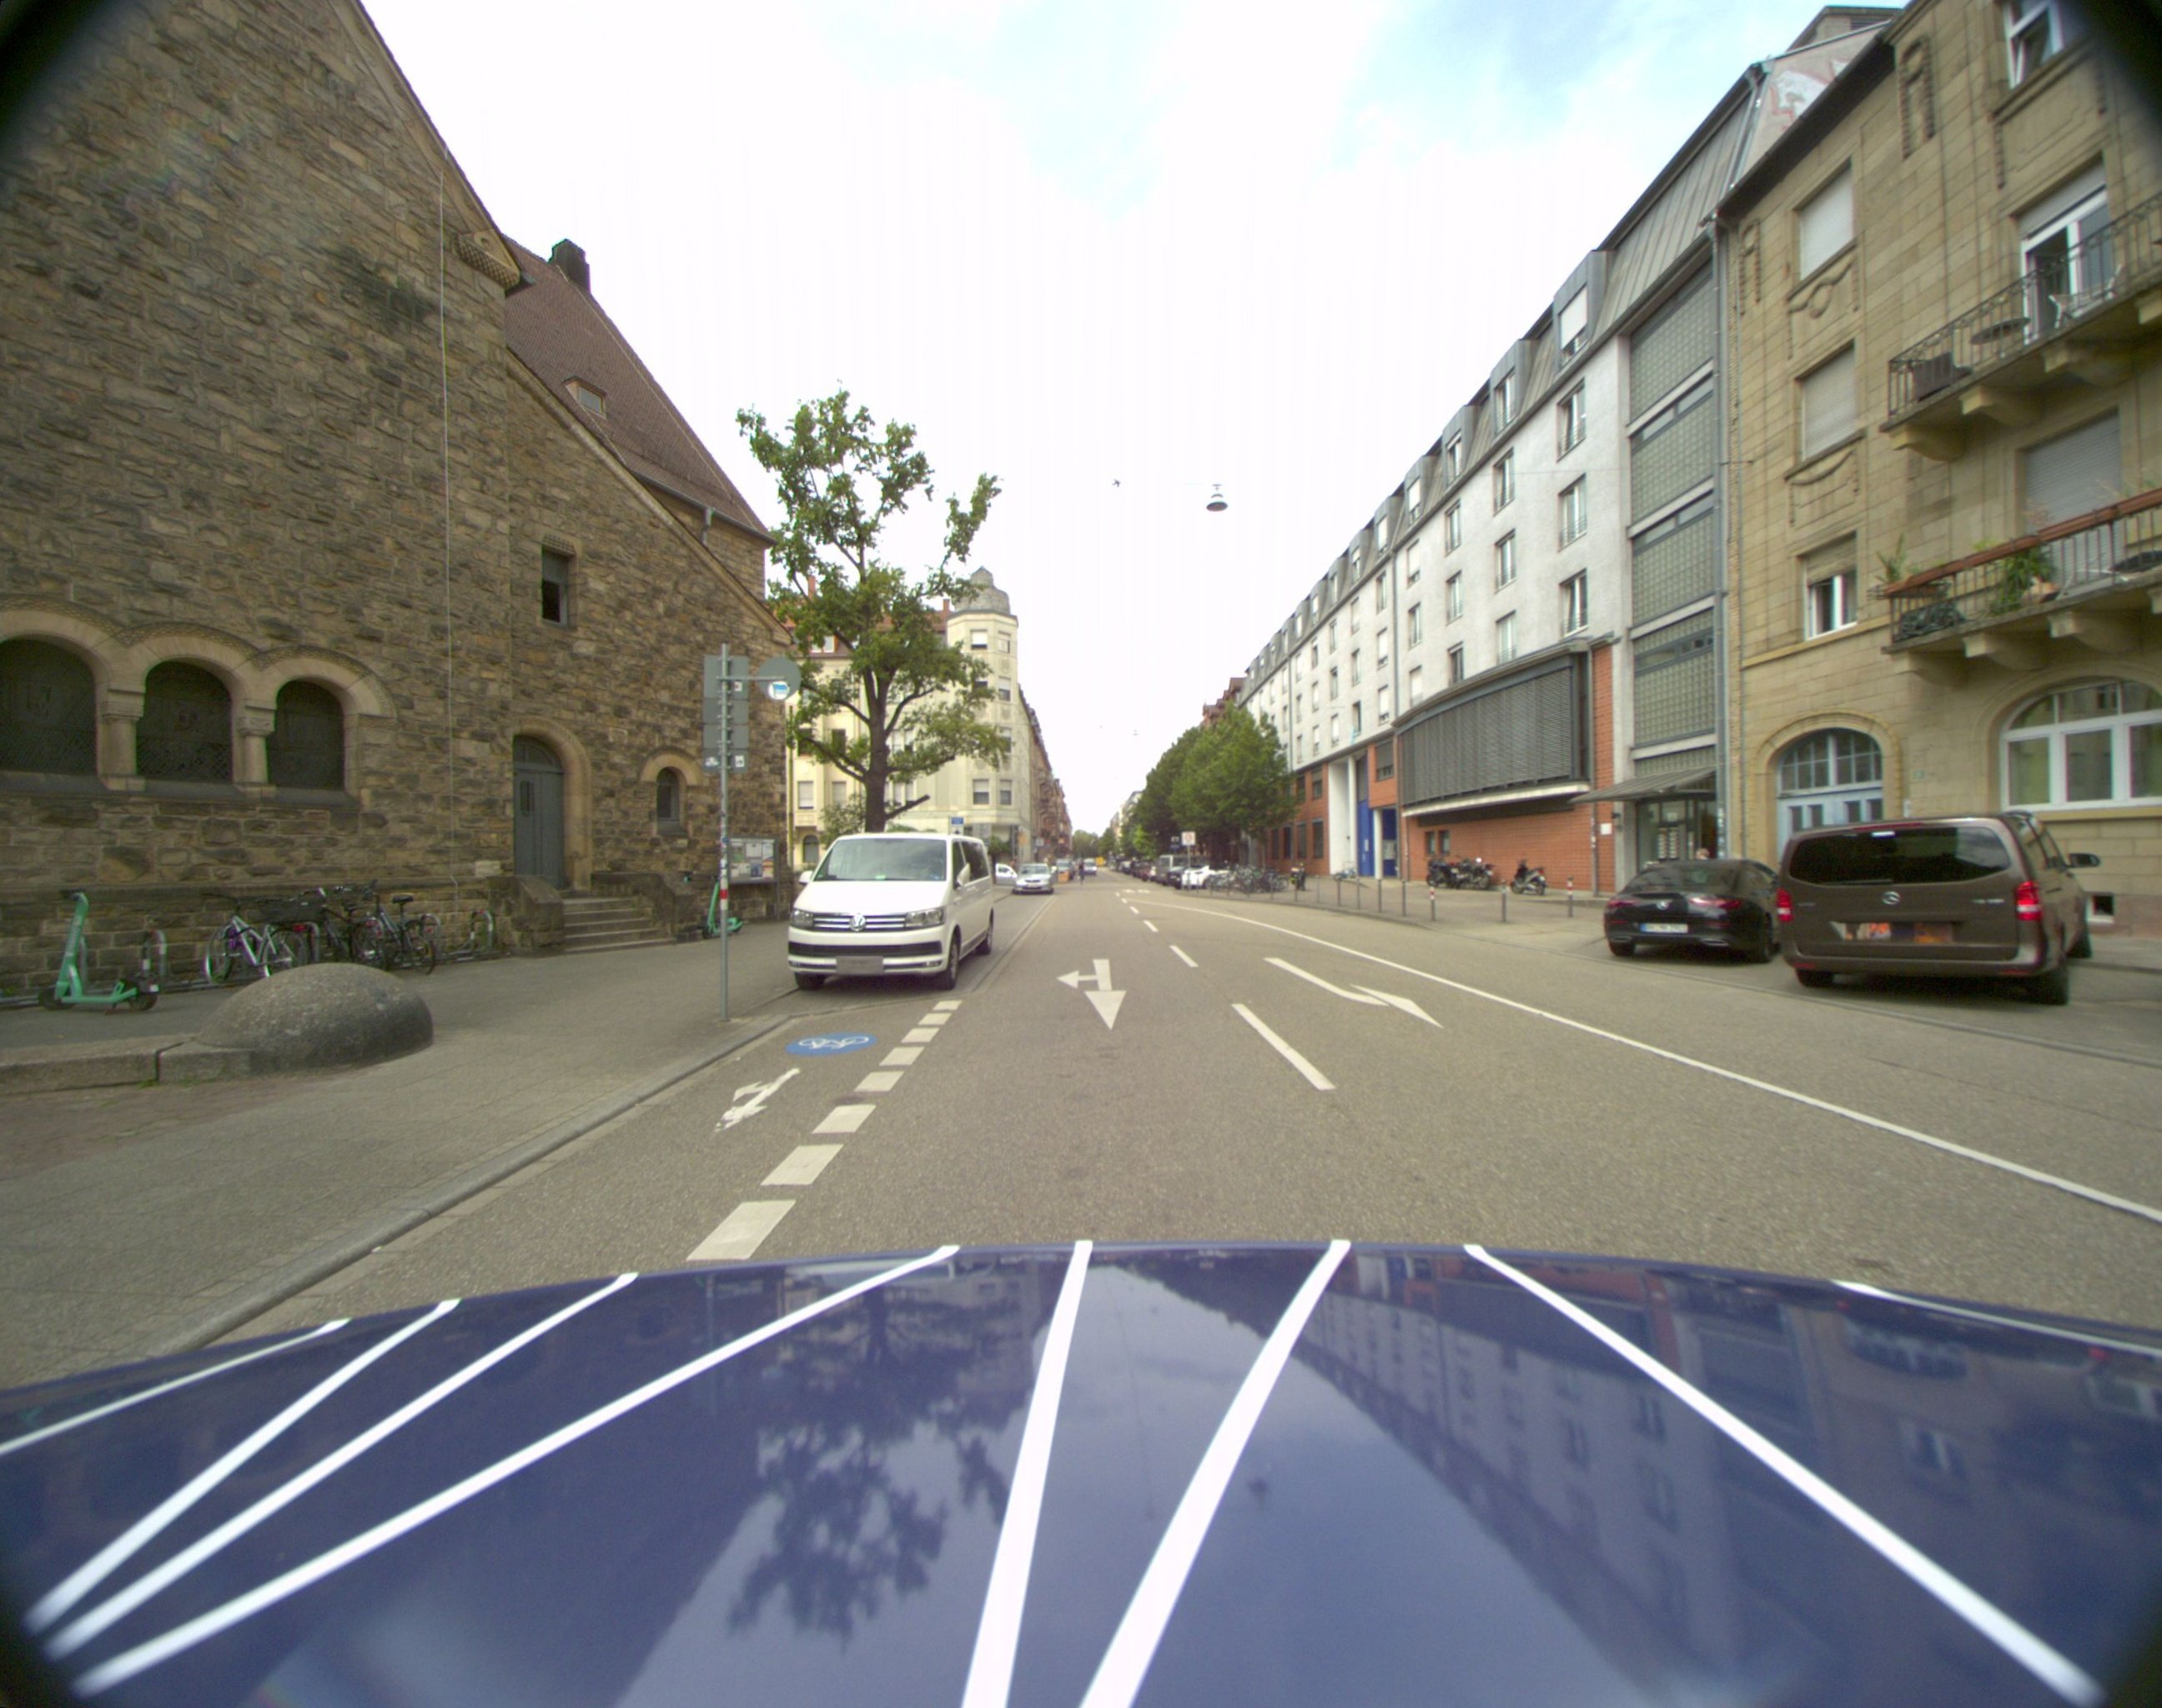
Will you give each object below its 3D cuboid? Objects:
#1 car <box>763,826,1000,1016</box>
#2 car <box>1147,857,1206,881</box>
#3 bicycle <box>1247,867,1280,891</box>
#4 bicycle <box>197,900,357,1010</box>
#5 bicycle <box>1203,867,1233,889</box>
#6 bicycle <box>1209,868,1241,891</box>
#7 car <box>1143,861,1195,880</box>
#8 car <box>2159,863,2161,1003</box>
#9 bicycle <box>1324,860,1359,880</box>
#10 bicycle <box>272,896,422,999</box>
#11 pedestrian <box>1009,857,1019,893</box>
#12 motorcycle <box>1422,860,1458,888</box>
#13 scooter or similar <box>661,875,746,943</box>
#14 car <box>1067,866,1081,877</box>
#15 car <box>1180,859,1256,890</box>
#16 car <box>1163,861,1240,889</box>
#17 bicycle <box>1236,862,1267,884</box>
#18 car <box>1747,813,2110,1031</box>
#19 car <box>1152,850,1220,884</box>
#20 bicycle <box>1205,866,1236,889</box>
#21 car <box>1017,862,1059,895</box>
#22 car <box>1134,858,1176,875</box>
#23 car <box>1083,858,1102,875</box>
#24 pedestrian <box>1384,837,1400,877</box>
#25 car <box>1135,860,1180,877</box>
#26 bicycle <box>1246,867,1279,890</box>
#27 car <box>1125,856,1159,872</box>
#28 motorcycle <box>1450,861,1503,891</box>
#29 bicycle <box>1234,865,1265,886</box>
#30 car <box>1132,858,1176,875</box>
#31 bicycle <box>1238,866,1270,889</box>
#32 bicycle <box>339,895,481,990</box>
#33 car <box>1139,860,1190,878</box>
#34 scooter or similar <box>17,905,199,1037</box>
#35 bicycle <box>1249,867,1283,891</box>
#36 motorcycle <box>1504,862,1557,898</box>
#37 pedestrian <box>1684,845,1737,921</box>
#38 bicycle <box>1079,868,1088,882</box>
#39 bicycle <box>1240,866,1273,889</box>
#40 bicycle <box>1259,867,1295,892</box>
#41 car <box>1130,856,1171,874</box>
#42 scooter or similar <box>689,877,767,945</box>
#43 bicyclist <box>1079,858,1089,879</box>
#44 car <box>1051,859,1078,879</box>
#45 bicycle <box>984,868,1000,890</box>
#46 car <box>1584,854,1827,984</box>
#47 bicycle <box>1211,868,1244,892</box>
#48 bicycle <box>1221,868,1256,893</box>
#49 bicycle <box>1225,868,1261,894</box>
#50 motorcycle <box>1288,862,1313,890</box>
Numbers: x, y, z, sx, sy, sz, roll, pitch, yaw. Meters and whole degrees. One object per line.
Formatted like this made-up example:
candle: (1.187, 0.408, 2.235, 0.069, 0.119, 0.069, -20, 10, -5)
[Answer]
car: (-2.411, 0.748, 10.709, 2.019, 2.017, 5.123, 0, -1, -1)
car: (6.942, 1.069, 54.973, 4.012, 1.605, 1.708, -1, -1, -33)
bicycle: (8.299, 1.129, 34.594, 1.409, 1.020, 0.402, -2, 0, 3)
bicycle: (-8.993, 1.092, 8.496, 1.778, 1.105, 0.547, 0, 0, 19)
bicycle: (6.867, 1.203, 38.170, 1.409, 1.020, 0.402, -3, 0, 3)
bicycle: (6.833, 1.202, 36.089, 1.409, 1.020, 0.402, -3, 0, 3)
car: (7.025, 1.308, 60.569, 4.012, 1.381, 1.593, -1, -1, -33)
car: (10.006, 0.797, 5.743, 4.020, 1.401, 1.792, -1, 0, -40)
bicycle: (14.023, 0.848, 40.943, 1.613, 0.920, 0.932, -7, -1, 12)
bicycle: (-8.764, 1.078, 9.071, 1.771, 1.105, 0.547, 0, 0, 19)
pedestrian: (-3.196, 0.986, 36.219, 0.468, 1.725, 0.410, 0, 0, 0)
motorcycle: (14.117, 0.778, 29.926, 0.585, 1.042, 1.657, -2, 0, -1)
scooter or similar: (-7.274, 1.033, 14.707, 0.545, 1.200, 1.483, 0, 0, 20)
car: (-1.014, 2.517, 109.522, 1.854, 1.505, 4.006, -1, -1, -1)
car: (7.442, 1.065, 41.153, 4.013, 1.536, 1.598, -1, 0, -34)
car: (6.943, 1.178, 43.549, 4.324, 1.460, 1.713, -1, 0, -33)
bicycle: (8.326, 0.934, 37.075, 1.409, 1.020, 0.402, -2, 0, 3)
car: (10.145, 0.576, 8.968, 5.280, 1.898, 2.116, -1, 0, -34)
car: (6.842, 0.837, 49.402, 4.011, 1.986, 1.857, -3, 1, -30)
bicycle: (6.853, 1.163, 37.362, 1.409, 1.020, 0.402, -3, 0, 3)
car: (-2.003, 1.105, 36.374, 1.759, 1.459, 4.418, 0, 0, 0)
car: (7.535, 1.275, 77.205, 4.012, 1.672, 1.687, -1, -1, -33)
car: (1.433, 1.461, 89.746, 1.942, 1.913, 4.008, -1, -1, 5)
pedestrian: (16.045, 0.155, 39.243, 0.729, 2.002, 0.783, -1, 0, 20)
car: (7.174, 1.352, 70.961, 4.012, 1.558, 1.687, -1, -1, -33)
bicycle: (8.368, 1.124, 35.079, 1.409, 1.020, 0.402, -2, 0, 3)
car: (7.484, 1.174, 93.024, 4.012, 1.846, 1.687, -1, -1, -33)
motorcycle: (14.283, 0.779, 27.507, 0.585, 1.042, 1.965, -2, 0, -11)
bicycle: (8.354, 1.066, 37.666, 1.409, 1.020, 0.402, -2, 0, 3)
car: (7.039, 1.219, 73.575, 4.012, 1.558, 1.687, -1, -1, -33)
bicycle: (8.291, 1.128, 36.383, 1.409, 1.020, 0.402, -2, 0, 3)
bicycle: (-8.558, 1.092, 9.689, 1.778, 1.105, 0.547, 0, 0, 19)
car: (6.930, 1.234, 62.783, 4.012, 1.445, 1.687, -1, -1, -33)
scooter or similar: (-9.477, 1.094, 7.396, 1.778, 1.133, 0.547, 0, 0, 19)
bicycle: (8.271, 1.125, 34.058, 1.409, 1.020, 0.402, -2, 0, 3)
motorcycle: (14.060, 0.793, 23.805, 0.585, 1.042, 1.794, -2, 0, 1)
pedestrian: (12.591, 0.564, 15.206, 0.662, 1.477, 0.508, -1, 0, -13)
bicycle: (0.193, 1.401, 52.132, 0.586, 0.927, 1.783, -1, -1, 1)
bicycle: (8.287, 1.112, 35.897, 1.409, 1.020, 0.402, -2, 0, 3)
bicycle: (8.467, 1.087, 32.812, 1.409, 1.020, 0.402, -2, 0, 3)
car: (7.350, 1.131, 79.901, 4.052, 1.846, 1.687, -1, -1, -33)
scooter or similar: (-6.663, 1.046, 14.405, 0.545, 1.200, 1.444, 0, 0, 14)
bicyclist: (0.187, 0.969, 52.115, 0.649, 1.408, 1.094, -1, 0, 2)
car: (-1.402, 1.257, 64.473, 1.853, 1.661, 4.008, -1, -1, 5)
bicycle: (-4.623, 1.284, 39.346, 0.523, 1.099, 1.979, -1, -1, 2)
car: (9.809, 0.861, 11.800, 4.679, 1.401, 1.895, -4, 0, -38)
bicycle: (6.831, 1.195, 35.447, 1.409, 1.032, 0.402, -3, 0, 3)
bicycle: (6.931, 1.166, 33.444, 1.409, 1.032, 0.402, -3, 0, 3)
bicycle: (6.931, 1.154, 32.553, 1.409, 1.032, 0.402, -3, 0, 3)
motorcycle: (9.595, 0.959, 33.209, 0.585, 1.165, 1.780, -2, 0, 2)
